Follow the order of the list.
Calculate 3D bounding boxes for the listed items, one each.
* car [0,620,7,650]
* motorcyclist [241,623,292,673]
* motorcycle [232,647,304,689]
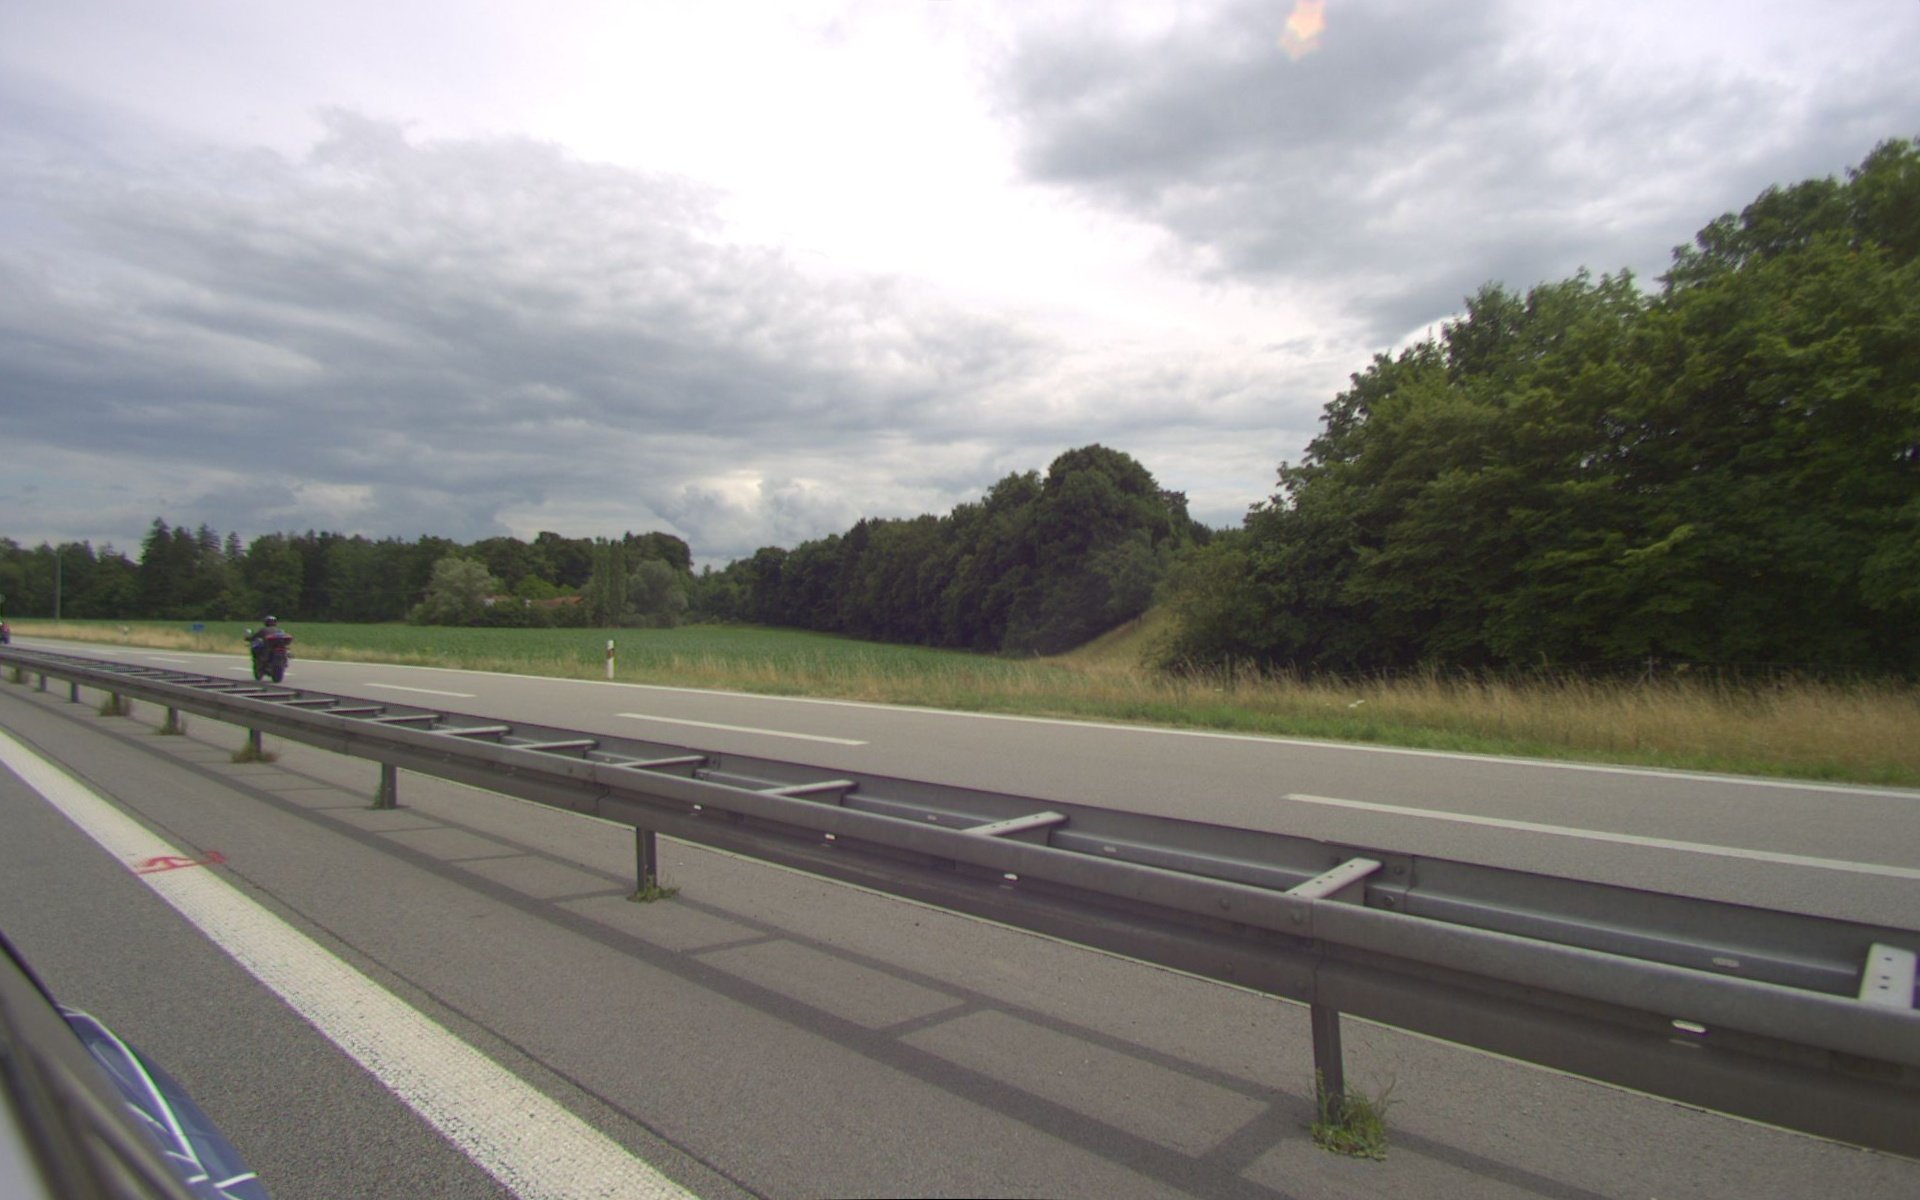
[{"bbox_3d":[-57.401,2.069,59.200,4.230,1.696,1.973,0,0,40],"label":"car"},{"bbox_3d":[-17.697,1.210,25.843,0.960,1.218,0.852,0,0,41],"label":"motorcyclist"},{"bbox_3d":[-17.693,1.704,25.833,2.723,0.941,0.846,-1,0,41],"label":"motorcycle"}]
